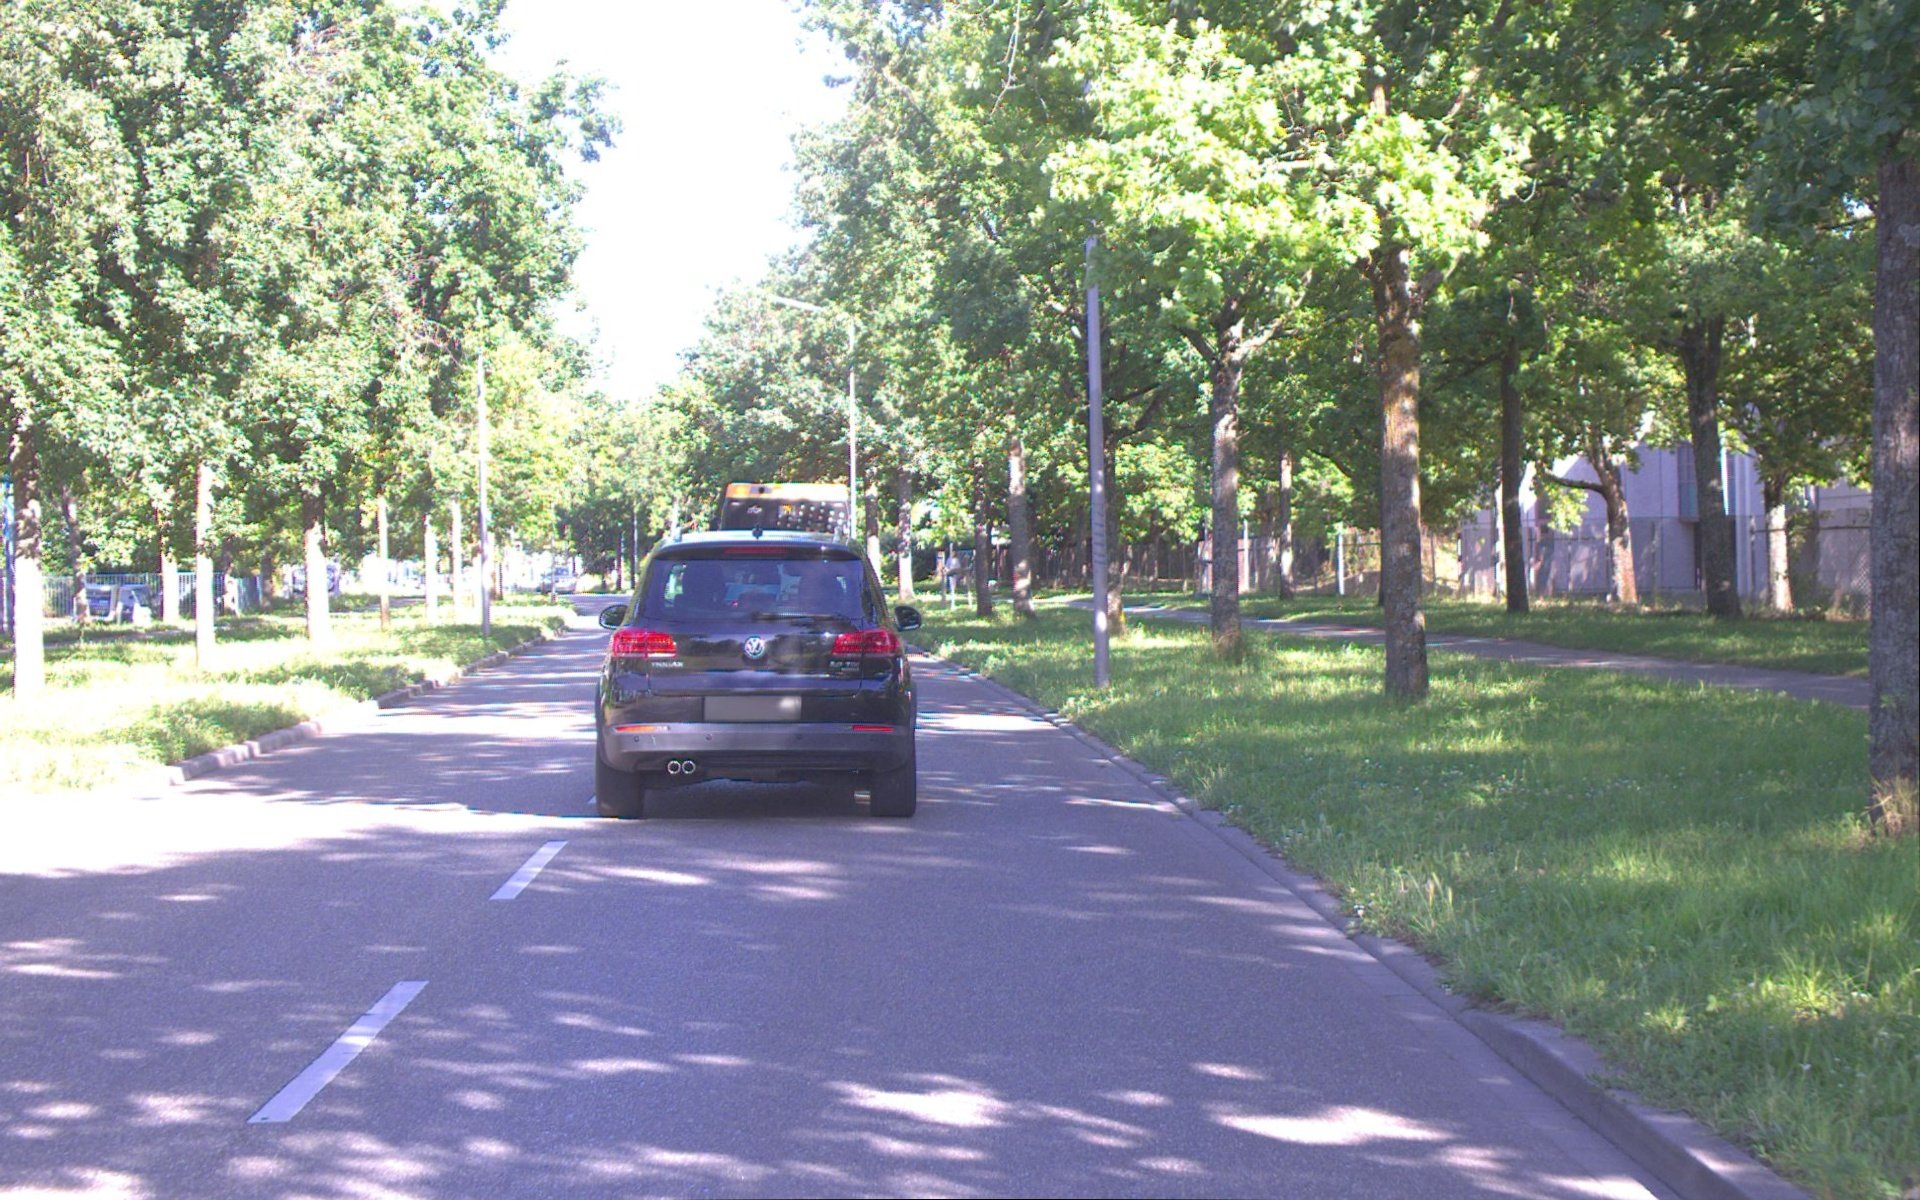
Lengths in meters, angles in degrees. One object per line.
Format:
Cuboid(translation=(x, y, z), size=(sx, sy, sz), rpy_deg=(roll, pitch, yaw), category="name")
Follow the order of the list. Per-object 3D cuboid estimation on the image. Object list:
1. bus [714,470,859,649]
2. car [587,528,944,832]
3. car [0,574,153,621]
Cuboid(translation=(-3.566, -0.871, 72.737), size=(2.764, 3.445, 11.212), rpy_deg=(-1, 1, -2), category="bus")
Cuboid(translation=(-1.156, 0.397, 20.995), size=(1.936, 1.650, 4.427), rpy_deg=(0, 1, -2), category="car")
Cuboid(translation=(-27.033, -0.087, 105.099), size=(4.198, 1.317, 1.941), rpy_deg=(-1, 1, 3), category="car")
